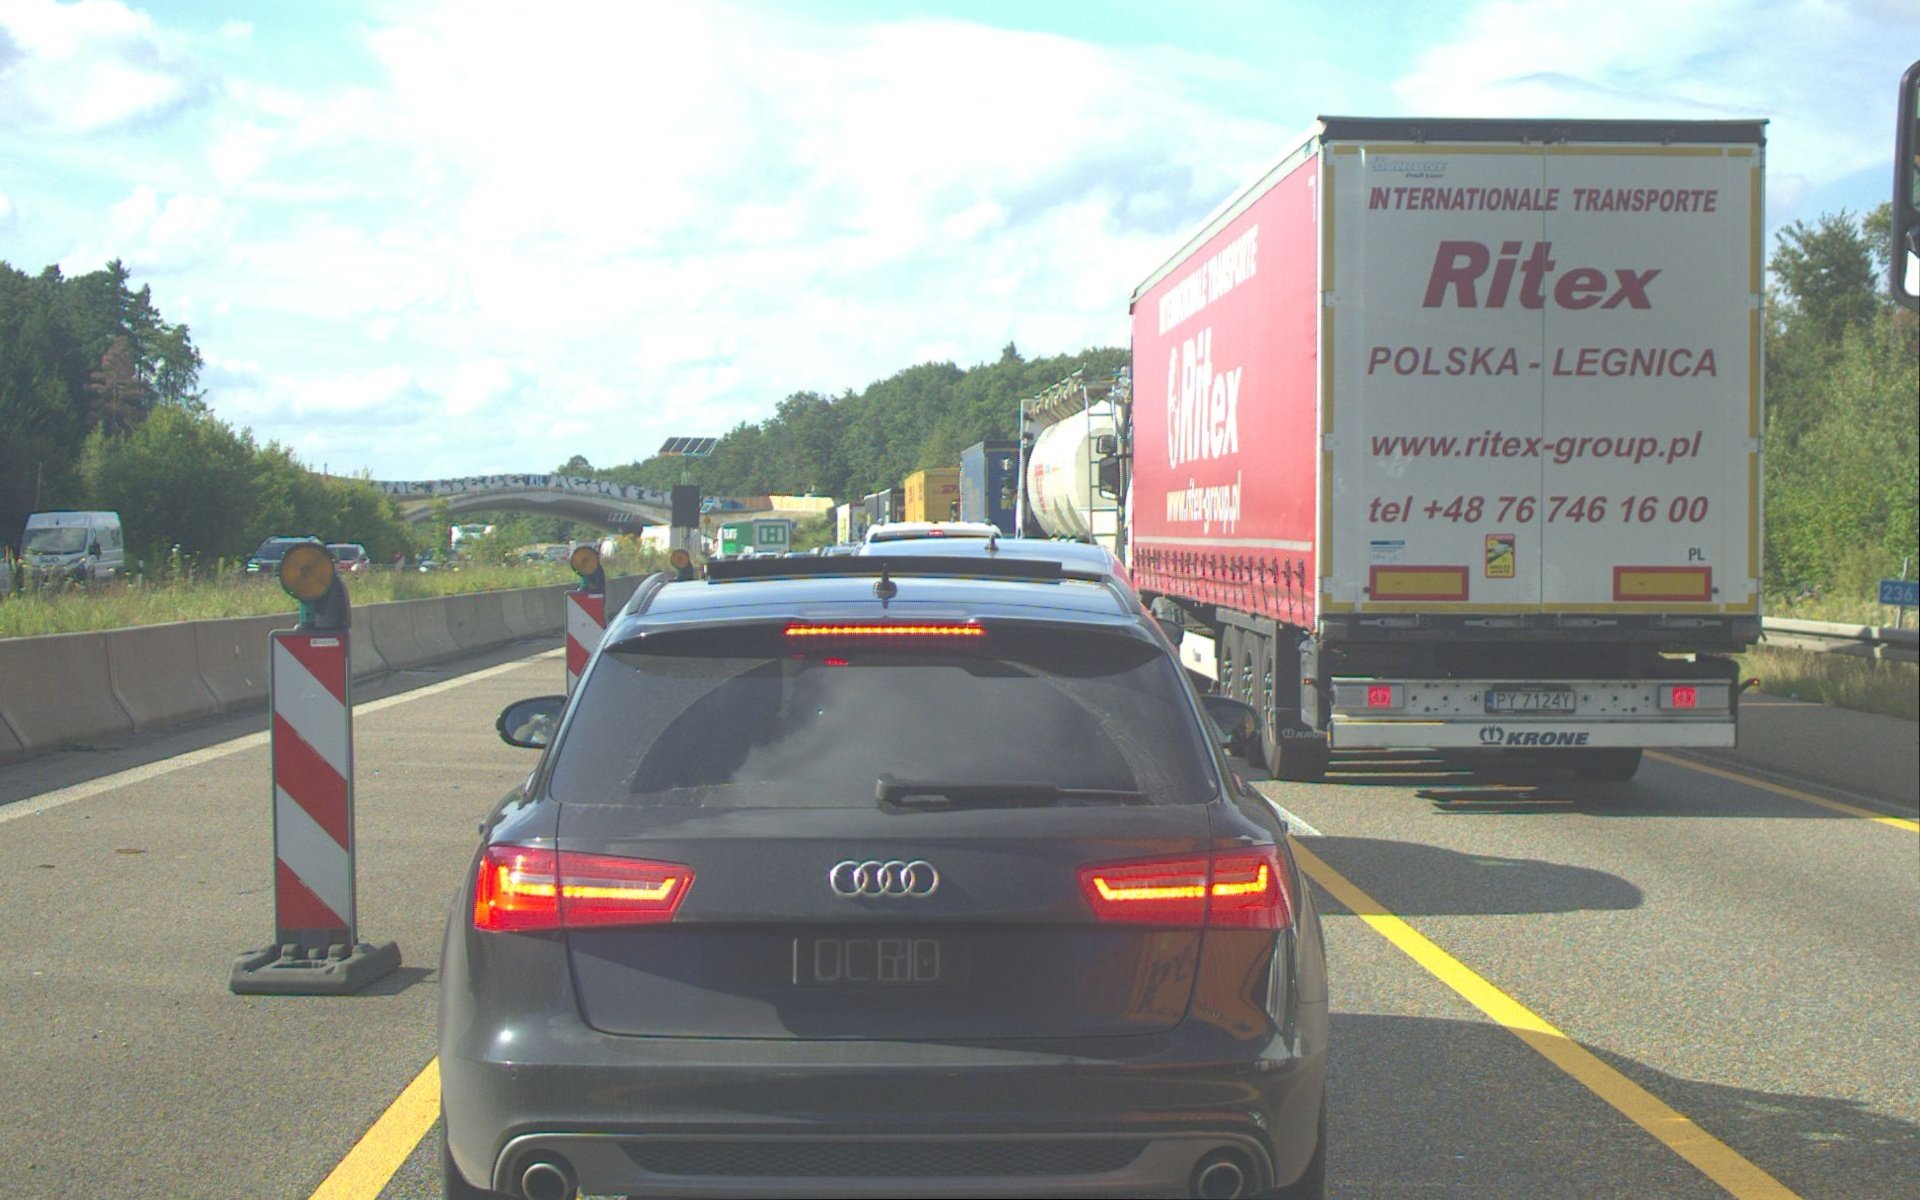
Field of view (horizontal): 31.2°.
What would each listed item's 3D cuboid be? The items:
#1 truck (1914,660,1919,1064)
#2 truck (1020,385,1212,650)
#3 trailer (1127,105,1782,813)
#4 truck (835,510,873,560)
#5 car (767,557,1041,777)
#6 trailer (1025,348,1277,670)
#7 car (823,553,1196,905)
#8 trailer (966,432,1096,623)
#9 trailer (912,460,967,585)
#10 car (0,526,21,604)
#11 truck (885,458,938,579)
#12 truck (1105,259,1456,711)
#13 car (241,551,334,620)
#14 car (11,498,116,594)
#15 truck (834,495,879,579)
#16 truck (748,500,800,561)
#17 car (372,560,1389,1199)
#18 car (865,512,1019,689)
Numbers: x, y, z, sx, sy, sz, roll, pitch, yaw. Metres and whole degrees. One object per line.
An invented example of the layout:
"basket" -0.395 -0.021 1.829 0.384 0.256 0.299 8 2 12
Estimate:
"truck" 4.121 -0.483 7.158 2.494 3.767 5.790 1 1 -1
"truck" 2.401 -1.276 54.782 2.659 3.958 5.779 1 0 -1
"trailer" 3.113 -0.903 26.087 2.699 3.955 13.418 1 1 -1
"truck" -7.525 -4.595 243.775 2.566 3.455 7.399 1 0 -2
"car" -0.381 0.415 23.982 1.751 1.392 3.608 1 0 -1
"trailer" 2.471 -1.208 48.714 2.644 3.929 12.598 1 1 -1
"car" 0.186 0.519 15.879 1.524 1.434 3.285 1 0 -1
"trailer" 1.653 -1.725 84.963 2.805 4.398 10.433 1 0 -1
"trailer" -0.698 -2.479 111.941 1.616 3.905 6.490 1 0 -1
"car" -25.467 -0.911 87.623 1.993 2.007 4.000 1 0 -1
"truck" -2.105 -3.414 145.325 1.993 4.897 9.563 1 1 -2
"truck" 2.939 -1.060 33.125 2.667 3.946 5.711 1 1 -1
"car" -17.344 -0.385 88.747 1.715 1.700 3.523 1 0 -1
"car" -25.381 -1.512 97.479 2.250 2.634 5.021 1 0 -8
"truck" -5.342 -3.224 178.128 2.137 4.243 7.072 1 0 -1
"truck" -13.289 -4.912 244.635 3.303 4.160 9.704 0 0 -5
"car" -0.167 0.644 8.276 1.848 1.458 4.000 0 0 -1
"car" -0.202 -0.006 37.452 1.581 1.830 3.112 1 0 -1
